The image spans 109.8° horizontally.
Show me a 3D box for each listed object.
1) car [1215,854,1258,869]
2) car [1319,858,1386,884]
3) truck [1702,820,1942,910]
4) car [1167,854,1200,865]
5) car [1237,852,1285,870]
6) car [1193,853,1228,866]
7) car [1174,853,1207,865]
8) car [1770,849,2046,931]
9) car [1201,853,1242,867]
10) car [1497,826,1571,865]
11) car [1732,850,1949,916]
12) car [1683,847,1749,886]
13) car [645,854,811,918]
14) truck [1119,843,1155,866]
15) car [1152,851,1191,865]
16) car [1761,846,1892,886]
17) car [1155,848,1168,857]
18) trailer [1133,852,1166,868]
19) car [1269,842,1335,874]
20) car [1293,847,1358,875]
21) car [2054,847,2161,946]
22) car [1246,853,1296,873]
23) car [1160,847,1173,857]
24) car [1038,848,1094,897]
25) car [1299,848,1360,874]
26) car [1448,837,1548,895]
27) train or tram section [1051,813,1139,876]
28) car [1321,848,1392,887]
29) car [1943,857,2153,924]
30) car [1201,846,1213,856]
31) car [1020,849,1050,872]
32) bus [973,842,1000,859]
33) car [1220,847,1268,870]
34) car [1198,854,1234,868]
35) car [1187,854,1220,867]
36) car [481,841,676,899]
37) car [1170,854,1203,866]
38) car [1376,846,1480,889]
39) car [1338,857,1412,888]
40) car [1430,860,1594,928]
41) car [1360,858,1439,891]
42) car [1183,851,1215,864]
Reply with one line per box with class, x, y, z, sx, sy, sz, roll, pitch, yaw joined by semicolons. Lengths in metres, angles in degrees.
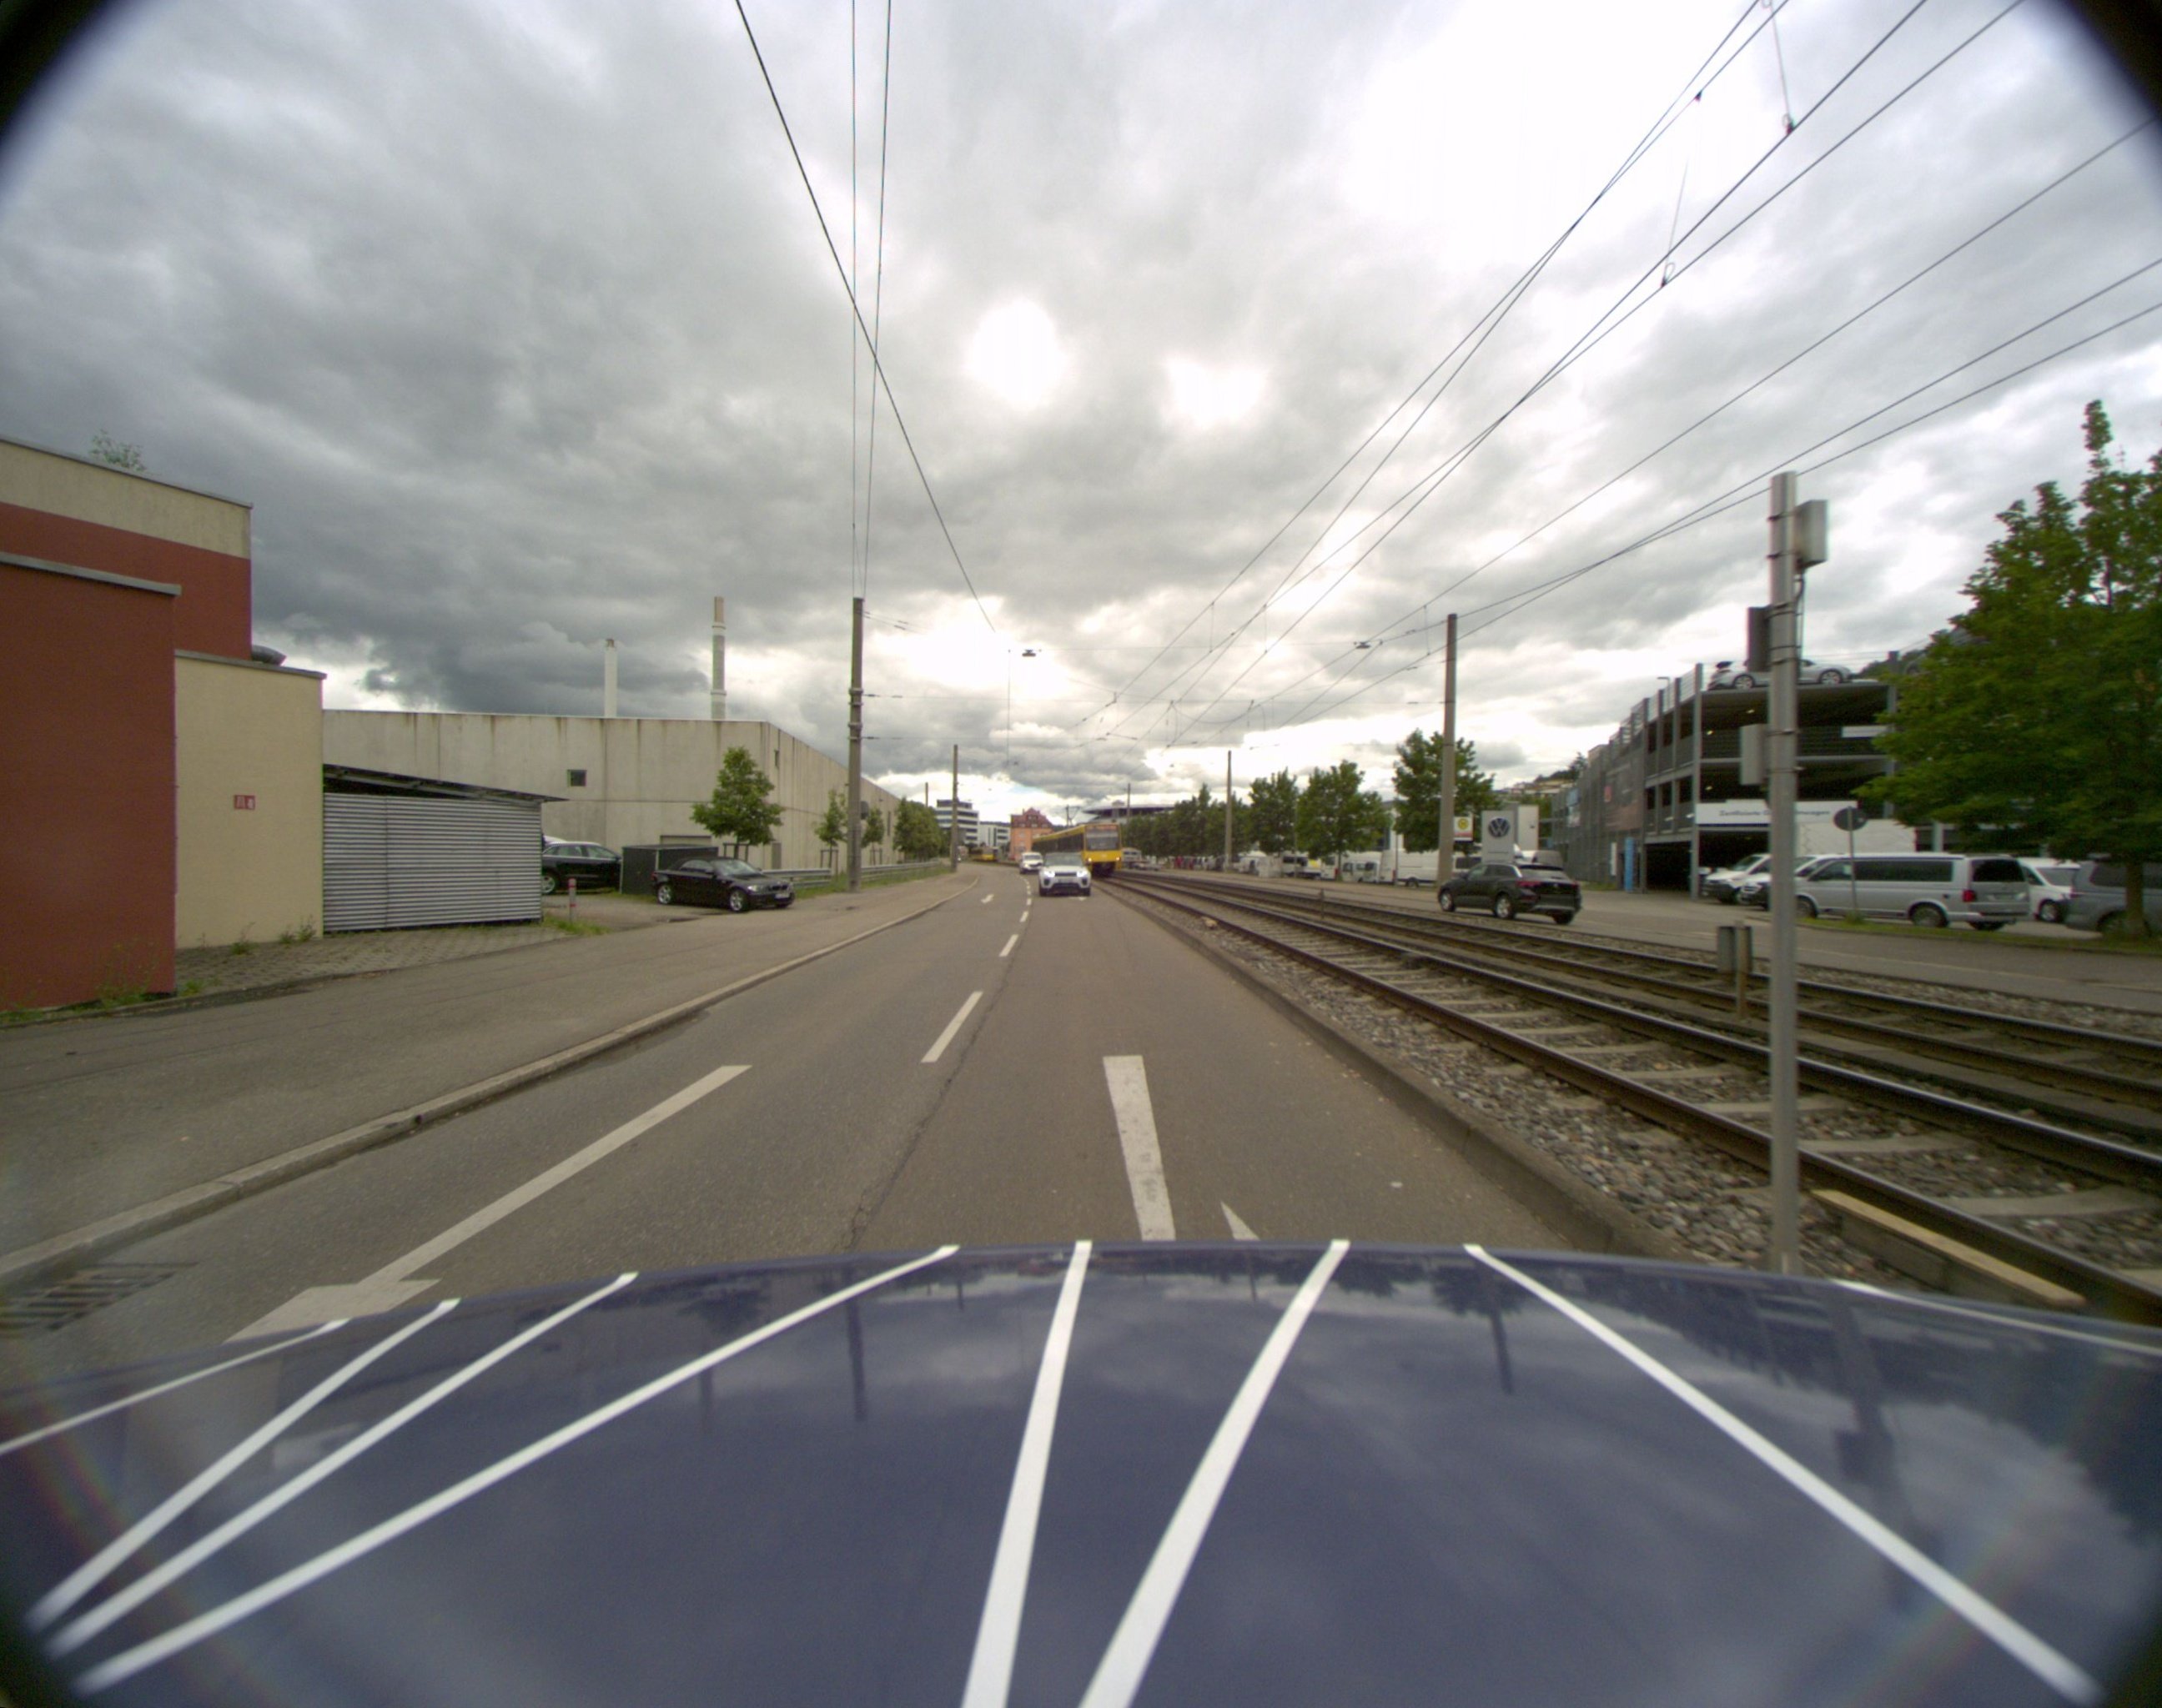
car;17.733;0.809;86.856;4.378;1.676;2.003;0;0;-3
car;20.557;1.274;57.666;4.380;1.899;2.002;0;0;-8
truck;26.916;0.343;27.961;5.923;3.067;2.123;1;0;25
car;14.898;0.810;110.706;4.348;1.608;2.153;0;0;-3
car;18.253;0.692;77.131;4.378;1.834;2.003;0;0;-3
car;16.205;0.661;94.978;3.998;1.608;1.999;0;0;-3
car;15.134;0.625;104.764;4.190;1.608;2.062;0;0;-3
car;22.448;0.883;21.011;2.000;2.002;4.916;1;0;-6
car;16.468;0.726;89.395;4.379;1.608;2.003;0;0;-6
car;31.621;-0.574;52.945;5.964;2.587;1.999;0;0;-34
car;25.162;0.894;25.431;4.719;2.002;2.003;1;0;23
car;32.322;0.609;38.626;4.009;1.892;1.994;0;0;-42
car;-9.761;0.819;20.990;4.222;1.435;1.766;3;1;23
truck;6.994;0.031;96.117;2.765;2.725;9.212;2;0;-7
car;13.855;0.605;116.132;5.704;1.996;2.146;1;0;13
car;37.782;0.581;38.691;2.000;1.892;4.461;1;0;-7
car;16.966;-0.302;159.951;1.996;2.002;4.005;1;0;16
trailer;7.826;0.615;88.154;2.390;1.688;6.943;2;0;-7
car;19.041;0.356;65.513;4.982;2.683;2.113;0;0;-8
car;19.291;0.516;60.032;4.380;2.160;2.002;0;0;-8
car;23.148;0.877;14.632;2.000;2.002;5.127;1;0;-6
car;18.727;0.837;74.842;4.378;1.936;2.003;0;0;-3
car;17.898;-0.442;158.664;1.996;2.002;4.005;1;0;16
car;-0.586;0.656;29.325;1.999;1.718;3.999;-1;0;-1
car;20.498;0.567;62.741;4.380;2.160;2.002;0;0;-8
car;23.096;0.638;42.404;2.113;3.002;5.935;1;0;-2
train or tram section;0.606;-0.715;57.103;3.399;3.984;16.926;-1;1;-10
car;19.940;0.969;55.030;4.380;2.802;2.002;0;0;-8
car;29.226;1.008;23.228;1.995;1.820;4.475;1;0;22
car;26.032;-0.578;156.627;1.996;2.002;4.005;1;0;16
car;-3.926;0.504;64.725;2.000;1.881;4.622;0;0;-10
bus;-23.475;-0.893;188.435;3.566;3.930;10.469;-2;2;-25
car;17.031;0.442;79.340;4.509;2.298;2.124;0;0;-3
car;16.286;0.870;91.765;3.998;1.608;1.999;0;0;-3
car;16.018;0.825;99.413;3.998;1.608;1.999;0;0;-3
car;-15.256;0.448;23.273;2.154;1.539;4.531;3;1;38
car;14.938;0.810;108.023;4.357;1.608;2.119;0;0;-3
car;21.628;0.829;47.465;5.489;2.587;2.245;0;0;-4
car;20.301;1.290;52.563;4.380;2.093;2.002;0;0;-8
car;11.408;0.983;20.505;1.692;1.523;4.254;3;0;-4
car;20.974;1.333;50.139;4.380;2.093;2.002;0;0;-8
car;15.819;0.506;101.909;3.998;1.655;2.047;0;0;-3
